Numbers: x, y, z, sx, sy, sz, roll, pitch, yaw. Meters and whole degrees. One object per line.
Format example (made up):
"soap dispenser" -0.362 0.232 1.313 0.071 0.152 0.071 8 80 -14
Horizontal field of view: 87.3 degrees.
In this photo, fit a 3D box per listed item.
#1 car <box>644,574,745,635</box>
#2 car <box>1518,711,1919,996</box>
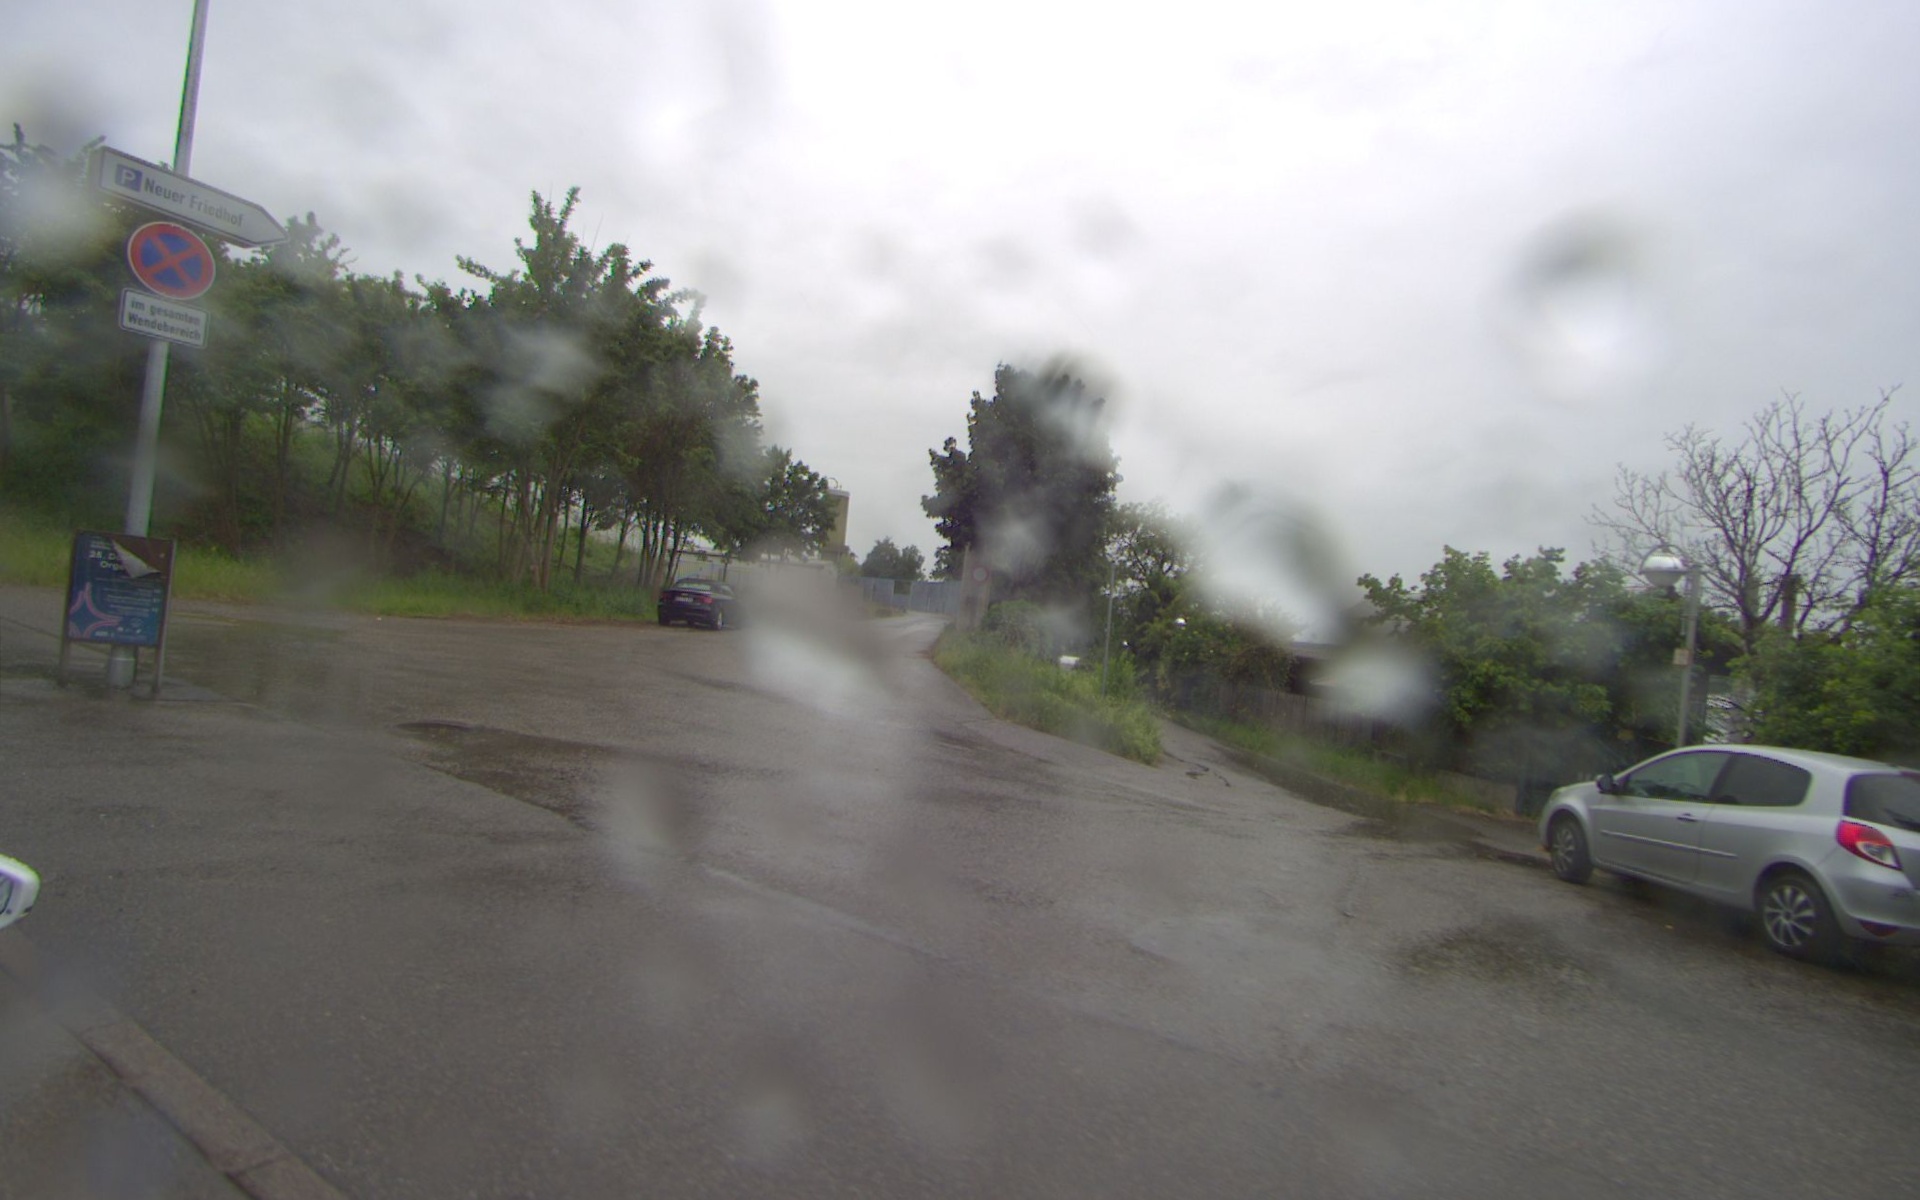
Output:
"car" -7.682 0.194 29.518 1.870 1.374 4.113 8 -2 -2
"car" 6.726 1.951 8.492 1.688 1.549 3.859 7 -2 -1
